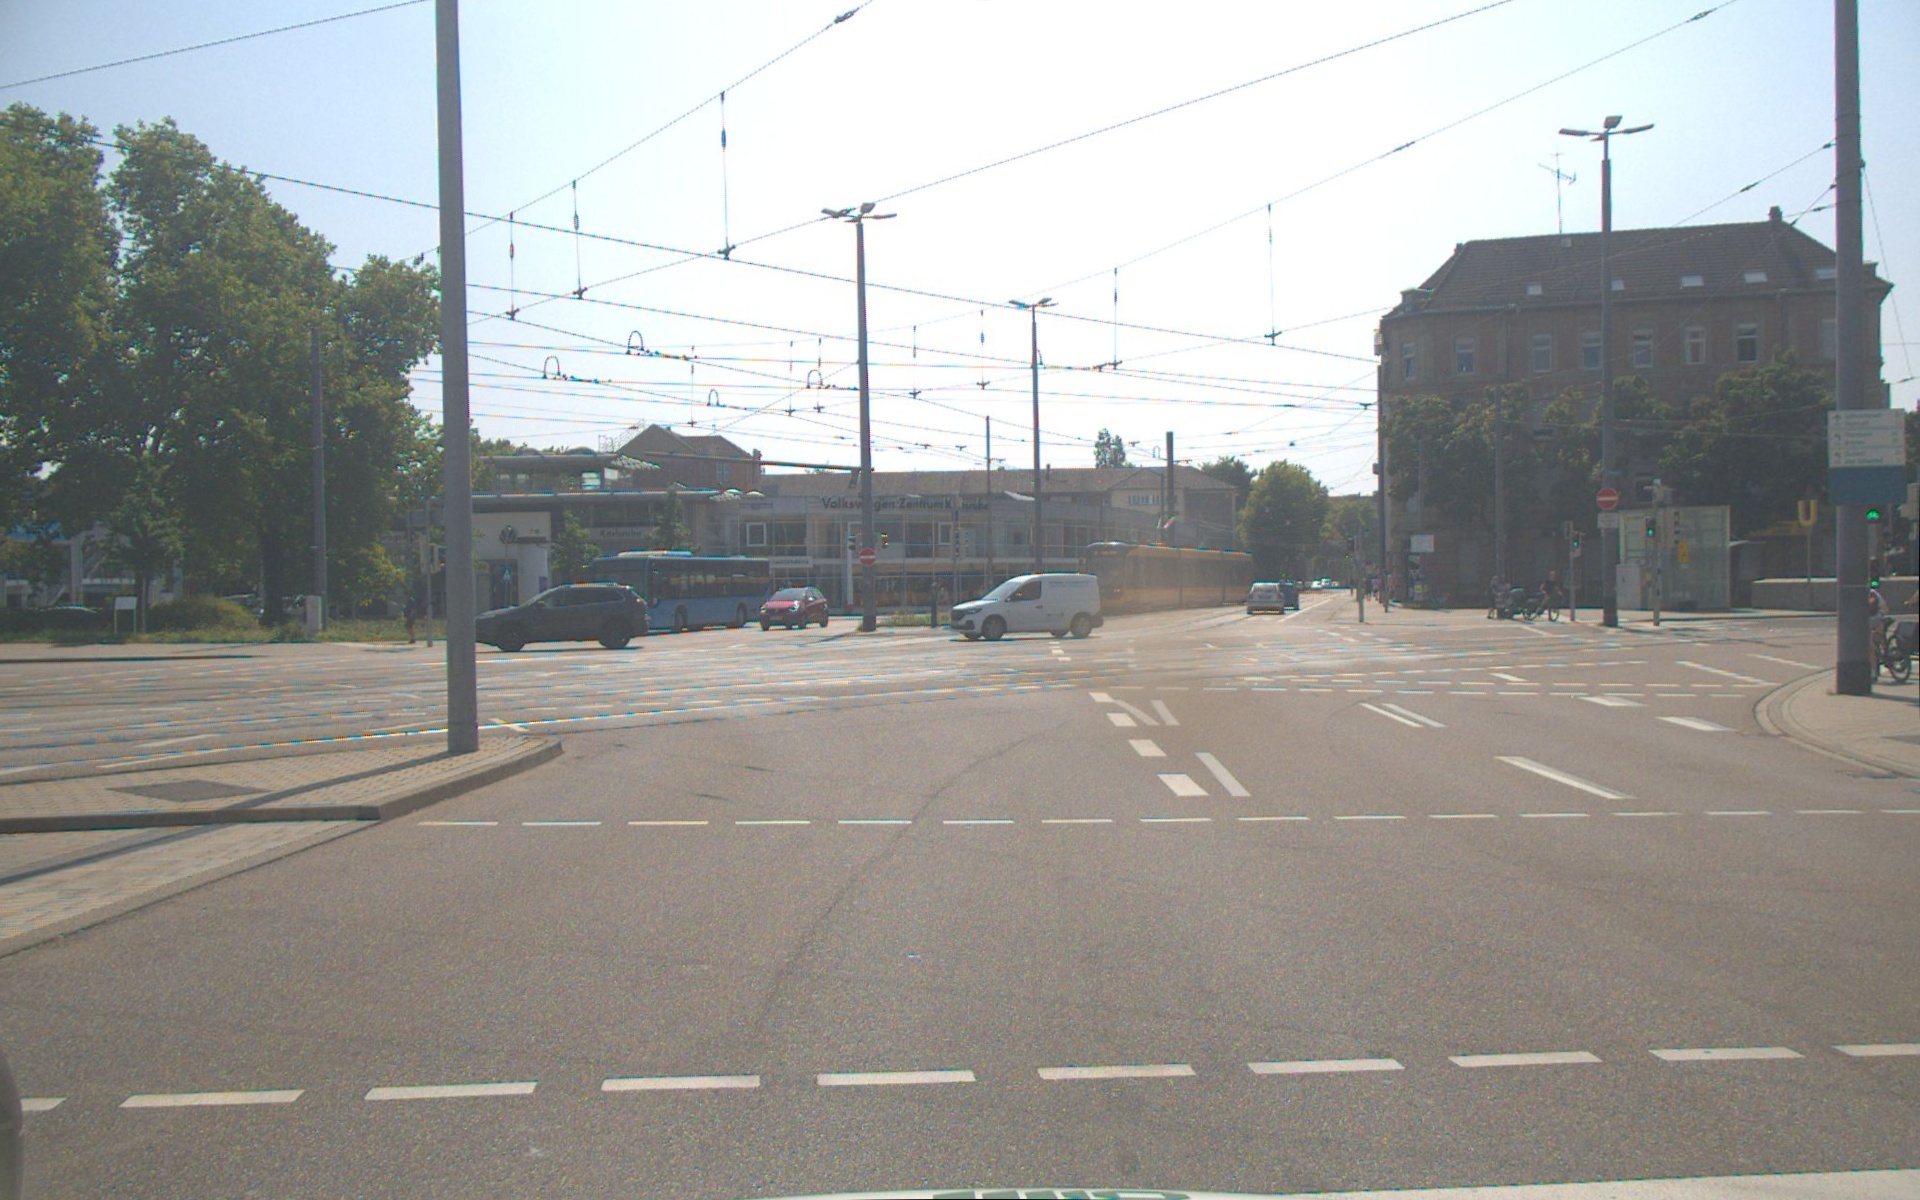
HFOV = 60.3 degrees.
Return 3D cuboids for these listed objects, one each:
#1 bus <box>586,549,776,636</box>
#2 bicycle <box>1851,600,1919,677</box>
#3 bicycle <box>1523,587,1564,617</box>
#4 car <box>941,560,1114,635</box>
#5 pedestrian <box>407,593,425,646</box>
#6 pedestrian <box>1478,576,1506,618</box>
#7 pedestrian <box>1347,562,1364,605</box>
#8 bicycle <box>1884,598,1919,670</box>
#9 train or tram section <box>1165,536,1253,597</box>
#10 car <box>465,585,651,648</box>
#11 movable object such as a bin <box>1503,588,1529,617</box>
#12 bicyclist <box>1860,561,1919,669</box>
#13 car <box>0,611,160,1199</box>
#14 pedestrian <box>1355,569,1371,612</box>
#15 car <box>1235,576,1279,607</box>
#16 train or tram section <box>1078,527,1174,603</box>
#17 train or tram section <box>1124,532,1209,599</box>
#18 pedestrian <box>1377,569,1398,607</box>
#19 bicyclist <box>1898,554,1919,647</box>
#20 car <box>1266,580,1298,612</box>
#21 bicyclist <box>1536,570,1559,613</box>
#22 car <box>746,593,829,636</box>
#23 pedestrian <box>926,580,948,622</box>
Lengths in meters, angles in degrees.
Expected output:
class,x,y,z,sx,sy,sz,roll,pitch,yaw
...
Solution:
class,x,y,z,sx,sy,sz,roll,pitch,yaw
bus,-10.901,-0.334,66.444,2.508,3.136,12.031,-1,0,16
bicycle,13.535,0.544,24.079,0.525,1.073,1.655,-1,0,12
bicycle,21.378,0.070,60.569,0.462,1.073,1.643,-1,0,-21
car,1.935,-0.091,47.457,4.544,2.049,1.988,-1,0,-21
pedestrian,-17.752,0.641,53.960,0.544,1.713,0.452,-1,0,-19
pedestrian,20.207,-0.108,62.839,0.834,1.572,0.528,-1,0,-9
pedestrian,28.052,-1.175,117.270,0.963,3.070,0.975,-1,0,5
bicycle,15.081,0.516,25.964,0.525,1.073,1.655,-1,0,12
train or tram section,15.833,-2.033,104.193,2.535,3.578,12.972,-1,0,22
car,-10.595,0.401,43.577,4.545,1.531,1.987,-1,0,-21
movable object such as a bin,21.018,0.100,62.521,0.798,1.096,0.510,-1,0,-11
bicyclist,13.599,0.212,24.151,0.614,1.544,0.712,-1,0,12
car,-2.517,0.729,1.335,1.728,1.412,3.783,1,0,3
pedestrian,29.237,-0.696,119.985,0.963,3.070,0.975,-1,0,2
car,14.035,-0.411,78.260,1.732,1.440,4.192,-1,0,6
train or tram section,8.576,-1.722,83.913,2.534,3.578,10.904,-1,0,18
train or tram section,11.811,-1.897,93.663,2.535,3.578,9.660,-1,0,21
pedestrian,18.804,-0.530,72.787,0.686,1.631,0.572,-1,0,-8
bicyclist,14.990,-0.003,25.622,0.519,1.417,0.894,-1,0,12
car,17.313,-0.242,88.849,1.601,1.646,4.004,-1,0,11
bicyclist,21.451,-0.295,60.395,0.603,1.555,0.517,-1,0,-25
car,-6.551,0.534,63.234,1.713,1.579,4.002,-1,0,17
pedestrian,-0.810,0.033,58.744,0.666,1.468,0.364,-1,0,-18
